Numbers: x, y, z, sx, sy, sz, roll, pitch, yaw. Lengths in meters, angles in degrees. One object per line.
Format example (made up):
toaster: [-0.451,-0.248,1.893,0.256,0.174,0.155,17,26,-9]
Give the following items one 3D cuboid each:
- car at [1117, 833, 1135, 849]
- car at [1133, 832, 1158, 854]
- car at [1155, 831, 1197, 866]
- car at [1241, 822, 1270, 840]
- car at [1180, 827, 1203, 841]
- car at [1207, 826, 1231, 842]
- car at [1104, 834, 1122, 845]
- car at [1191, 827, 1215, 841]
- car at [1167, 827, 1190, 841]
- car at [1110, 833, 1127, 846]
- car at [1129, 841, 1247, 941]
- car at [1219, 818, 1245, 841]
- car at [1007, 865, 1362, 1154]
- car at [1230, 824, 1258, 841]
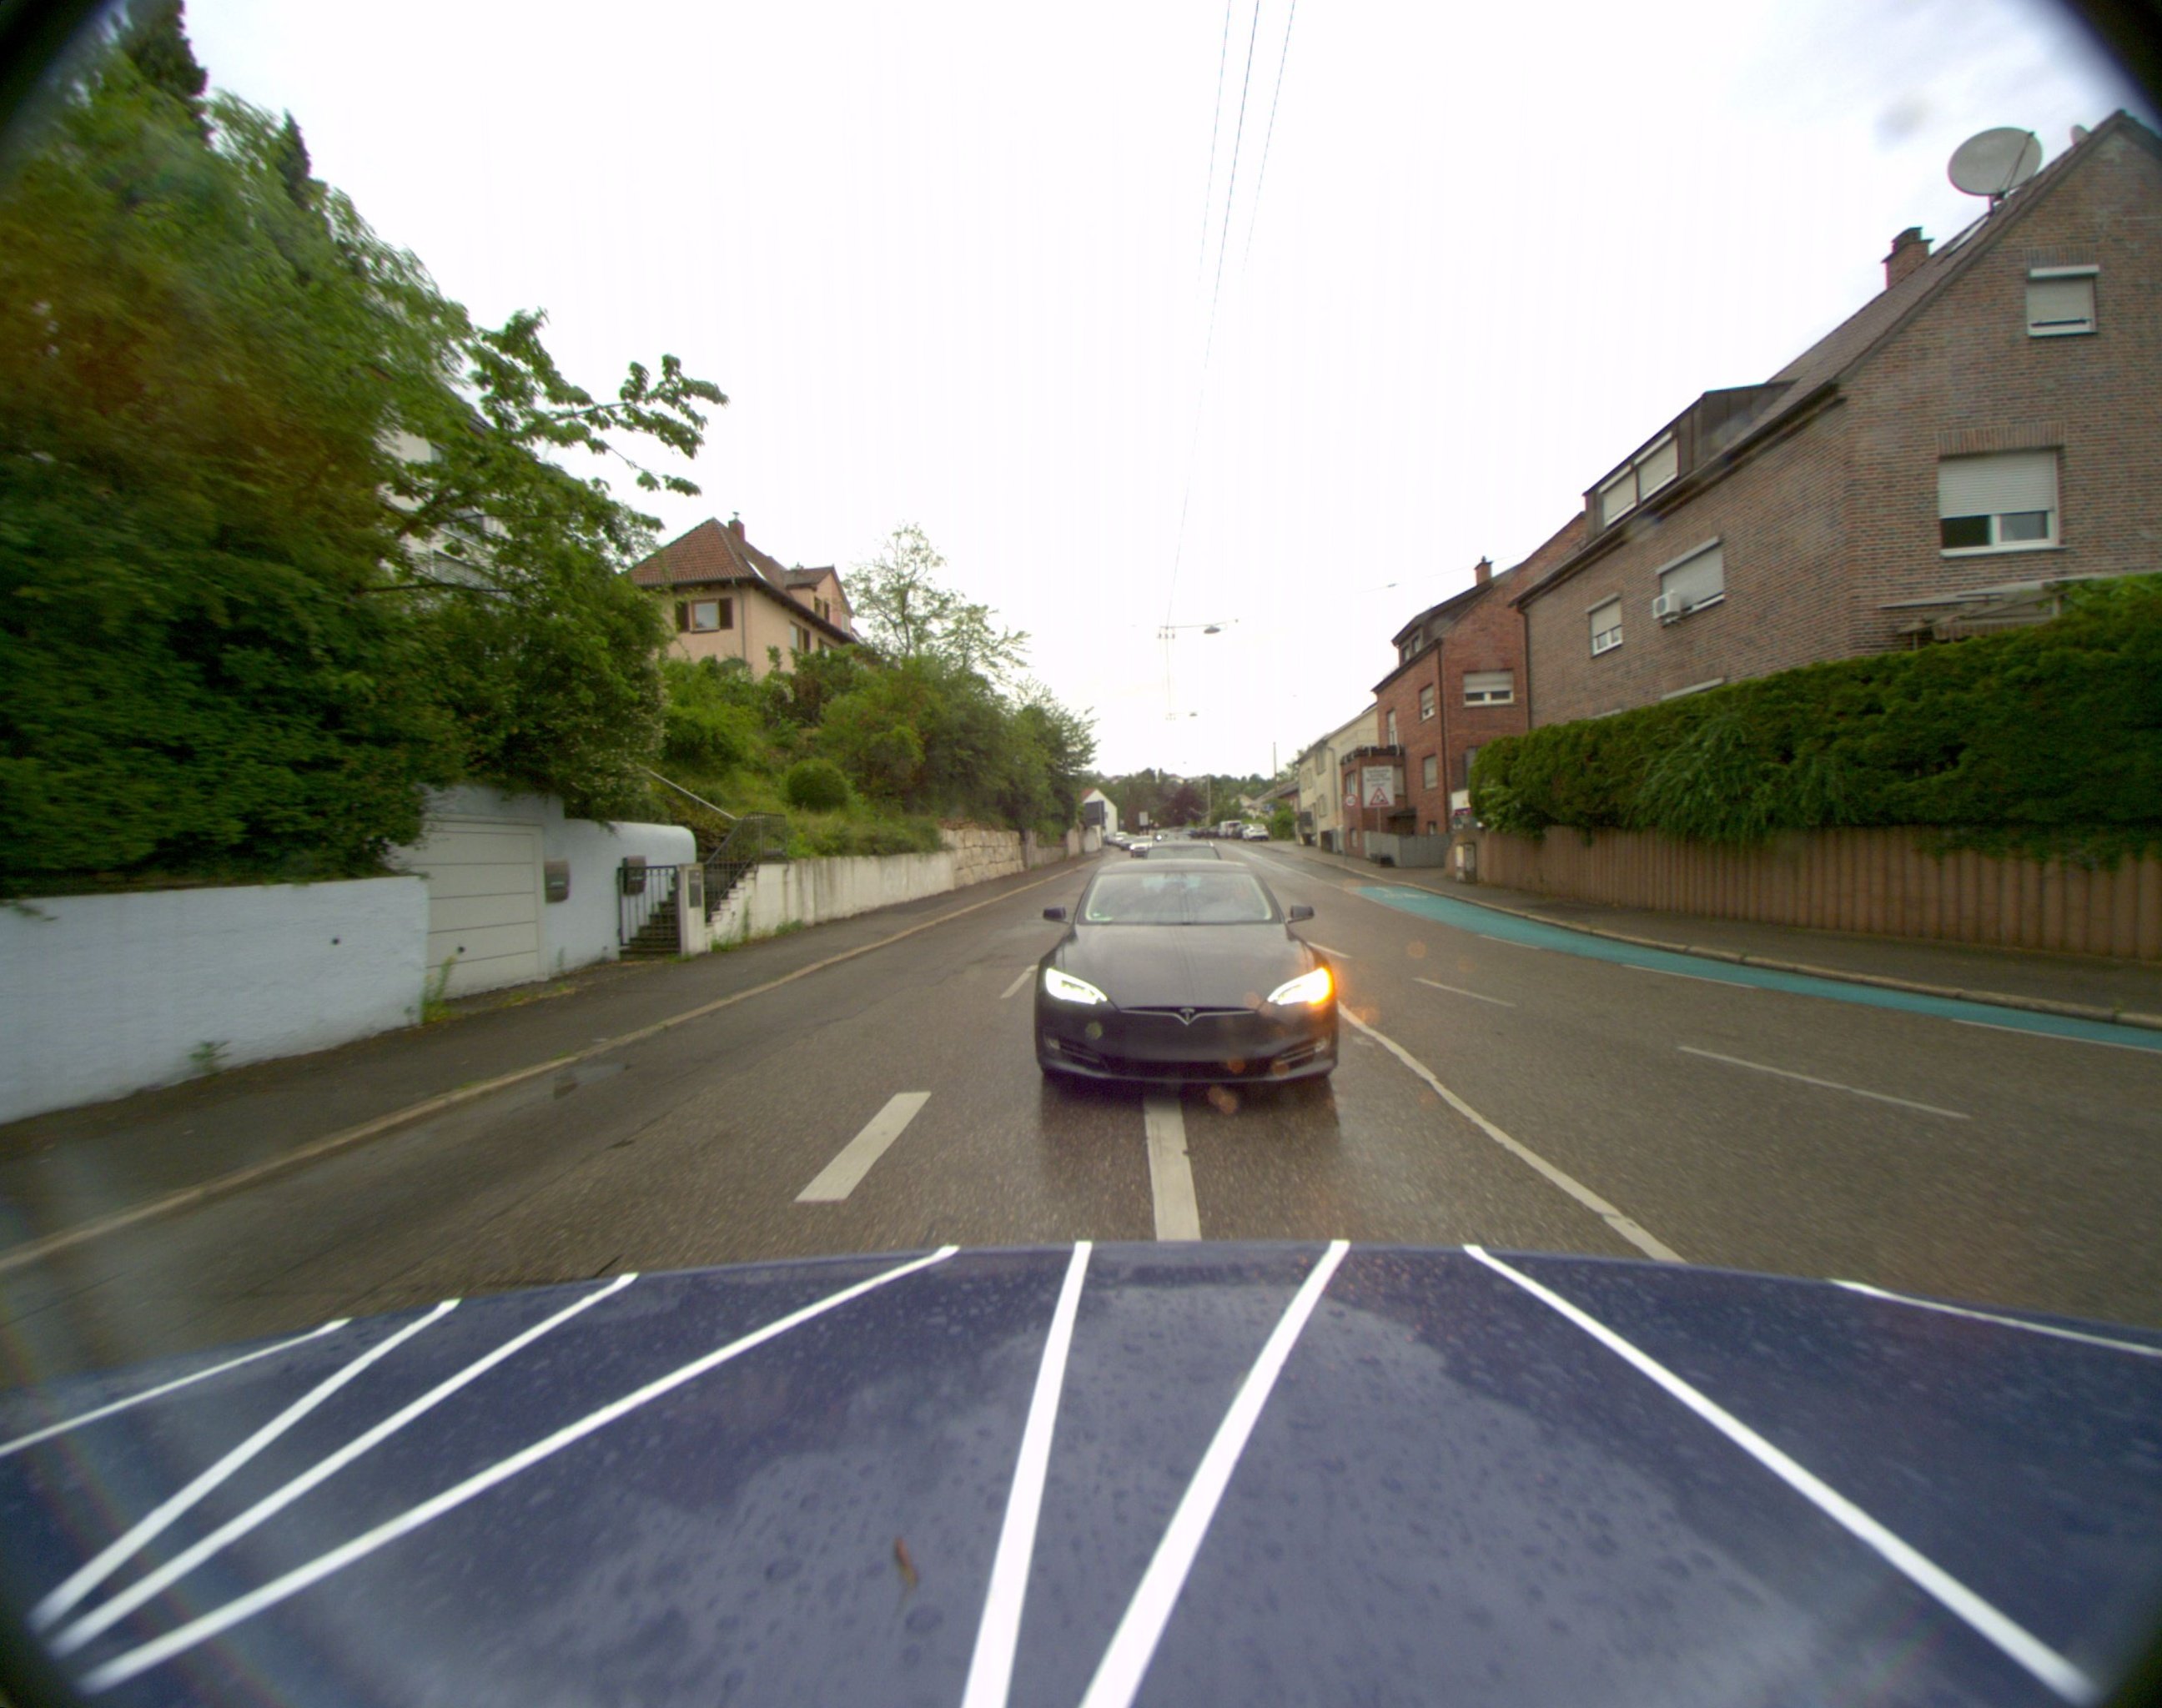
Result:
car: [4.348,-1.261,73.715,1.614,1.391,3.364,-3,2,2]
car: [4.696,-0.792,55.185,1.551,1.443,3.366,-2,2,8]
car: [4.609,-0.278,37.383,1.758,1.640,4.042,-1,1,3]
car: [16.699,-2.200,72.781,1.949,1.600,4.450,-2,1,3]
car: [15.031,-2.716,103.795,1.773,1.749,4.320,-3,1,-10]
car: [16.831,-2.424,92.607,1.773,1.749,4.322,-2,1,-4]
car: [3.997,-1.833,95.388,1.615,1.391,3.362,-3,2,-6]
car: [15.751,-2.577,98.390,1.773,1.749,4.321,-2,1,-8]
car: [13.940,-2.825,108.626,1.774,1.749,4.319,-3,1,-13]
car: [4.446,-1.701,89.763,1.615,1.391,3.363,-3,2,-3]
car: [1.912,0.599,14.692,1.800,1.600,4.041,-2,1,2]
car: [17.218,-2.790,86.765,2.011,2.442,4.449,-2,1,0]
car: [0.655,0.872,6.215,1.835,1.384,4.324,-2,1,3]
car: [16.971,-2.258,79.266,1.949,1.600,4.449,-2,1,0]
